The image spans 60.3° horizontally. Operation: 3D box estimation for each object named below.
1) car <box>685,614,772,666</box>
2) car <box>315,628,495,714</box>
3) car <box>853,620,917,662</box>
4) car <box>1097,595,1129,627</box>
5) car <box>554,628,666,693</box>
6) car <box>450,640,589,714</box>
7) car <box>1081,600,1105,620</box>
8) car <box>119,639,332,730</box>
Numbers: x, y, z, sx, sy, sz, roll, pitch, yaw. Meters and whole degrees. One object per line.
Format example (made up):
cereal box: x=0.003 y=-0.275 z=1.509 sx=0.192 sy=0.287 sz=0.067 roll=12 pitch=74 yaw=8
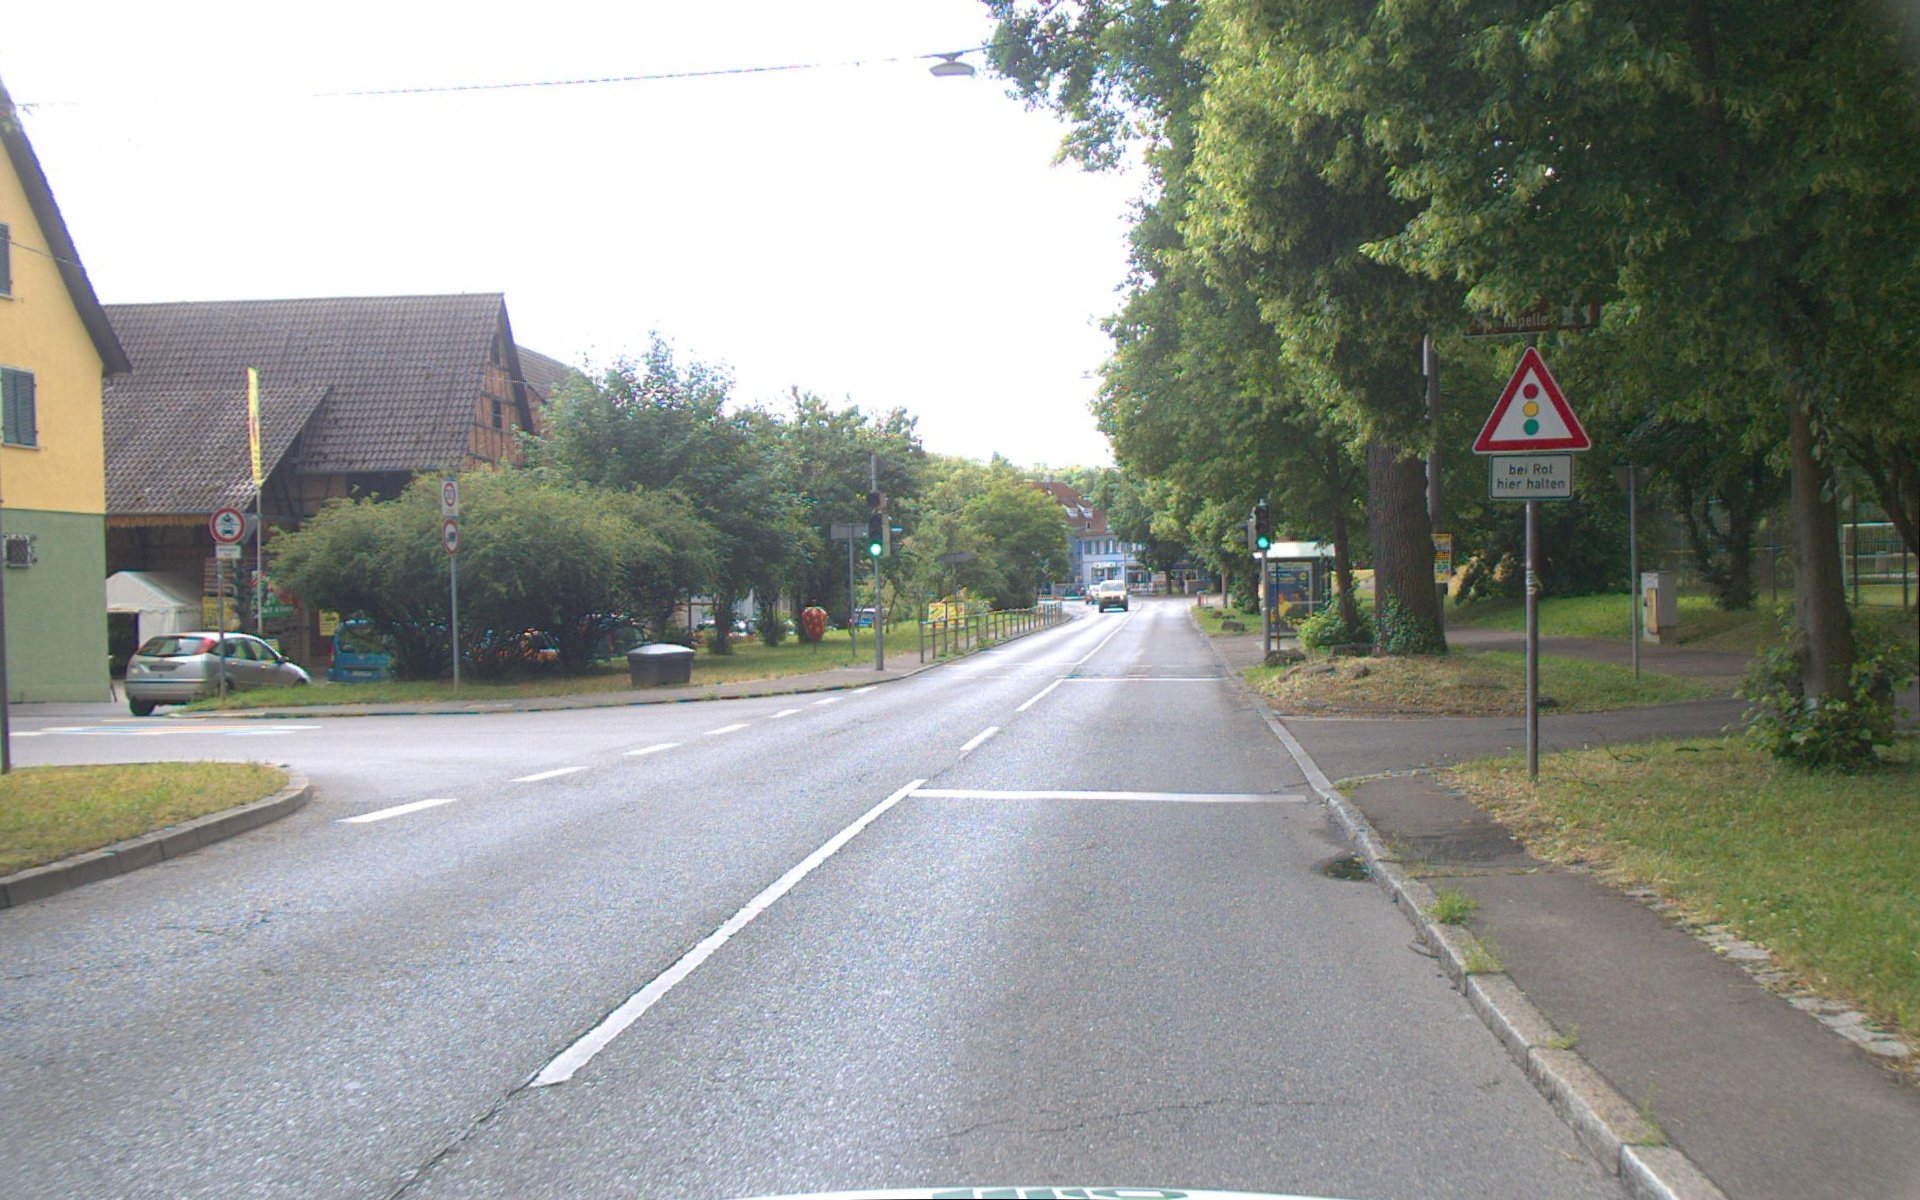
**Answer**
car: x=-8.146 y=1.387 z=58.529 sx=1.773 sy=1.646 sz=4.003 roll=-4 pitch=-1 yaw=10
car: x=-12.555 y=1.566 z=37.722 sx=1.951 sy=1.646 sz=4.451 roll=-4 pitch=-1 yaw=9
car: x=-3.480 y=1.915 z=77.758 sx=1.880 sy=1.724 sz=4.003 roll=-3 pitch=0 yaw=13
car: x=9.934 y=0.679 z=107.159 sx=1.806 sy=1.964 sz=4.773 roll=-2 pitch=0 yaw=7
car: x=-10.239 y=1.750 z=48.690 sx=1.773 sy=1.646 sz=4.003 roll=-4 pitch=-1 yaw=10
car: x=-11.424 y=1.964 z=43.205 sx=1.907 sy=1.646 sz=4.003 roll=-4 pitch=-1 yaw=10
car: x=11.130 y=0.809 z=138.274 sx=1.668 sy=1.538 sz=4.003 roll=-4 pitch=0 yaw=8
car: x=-13.448 y=1.504 z=30.558 sx=1.610 sy=1.368 sz=4.155 roll=-4 pitch=0 yaw=7
